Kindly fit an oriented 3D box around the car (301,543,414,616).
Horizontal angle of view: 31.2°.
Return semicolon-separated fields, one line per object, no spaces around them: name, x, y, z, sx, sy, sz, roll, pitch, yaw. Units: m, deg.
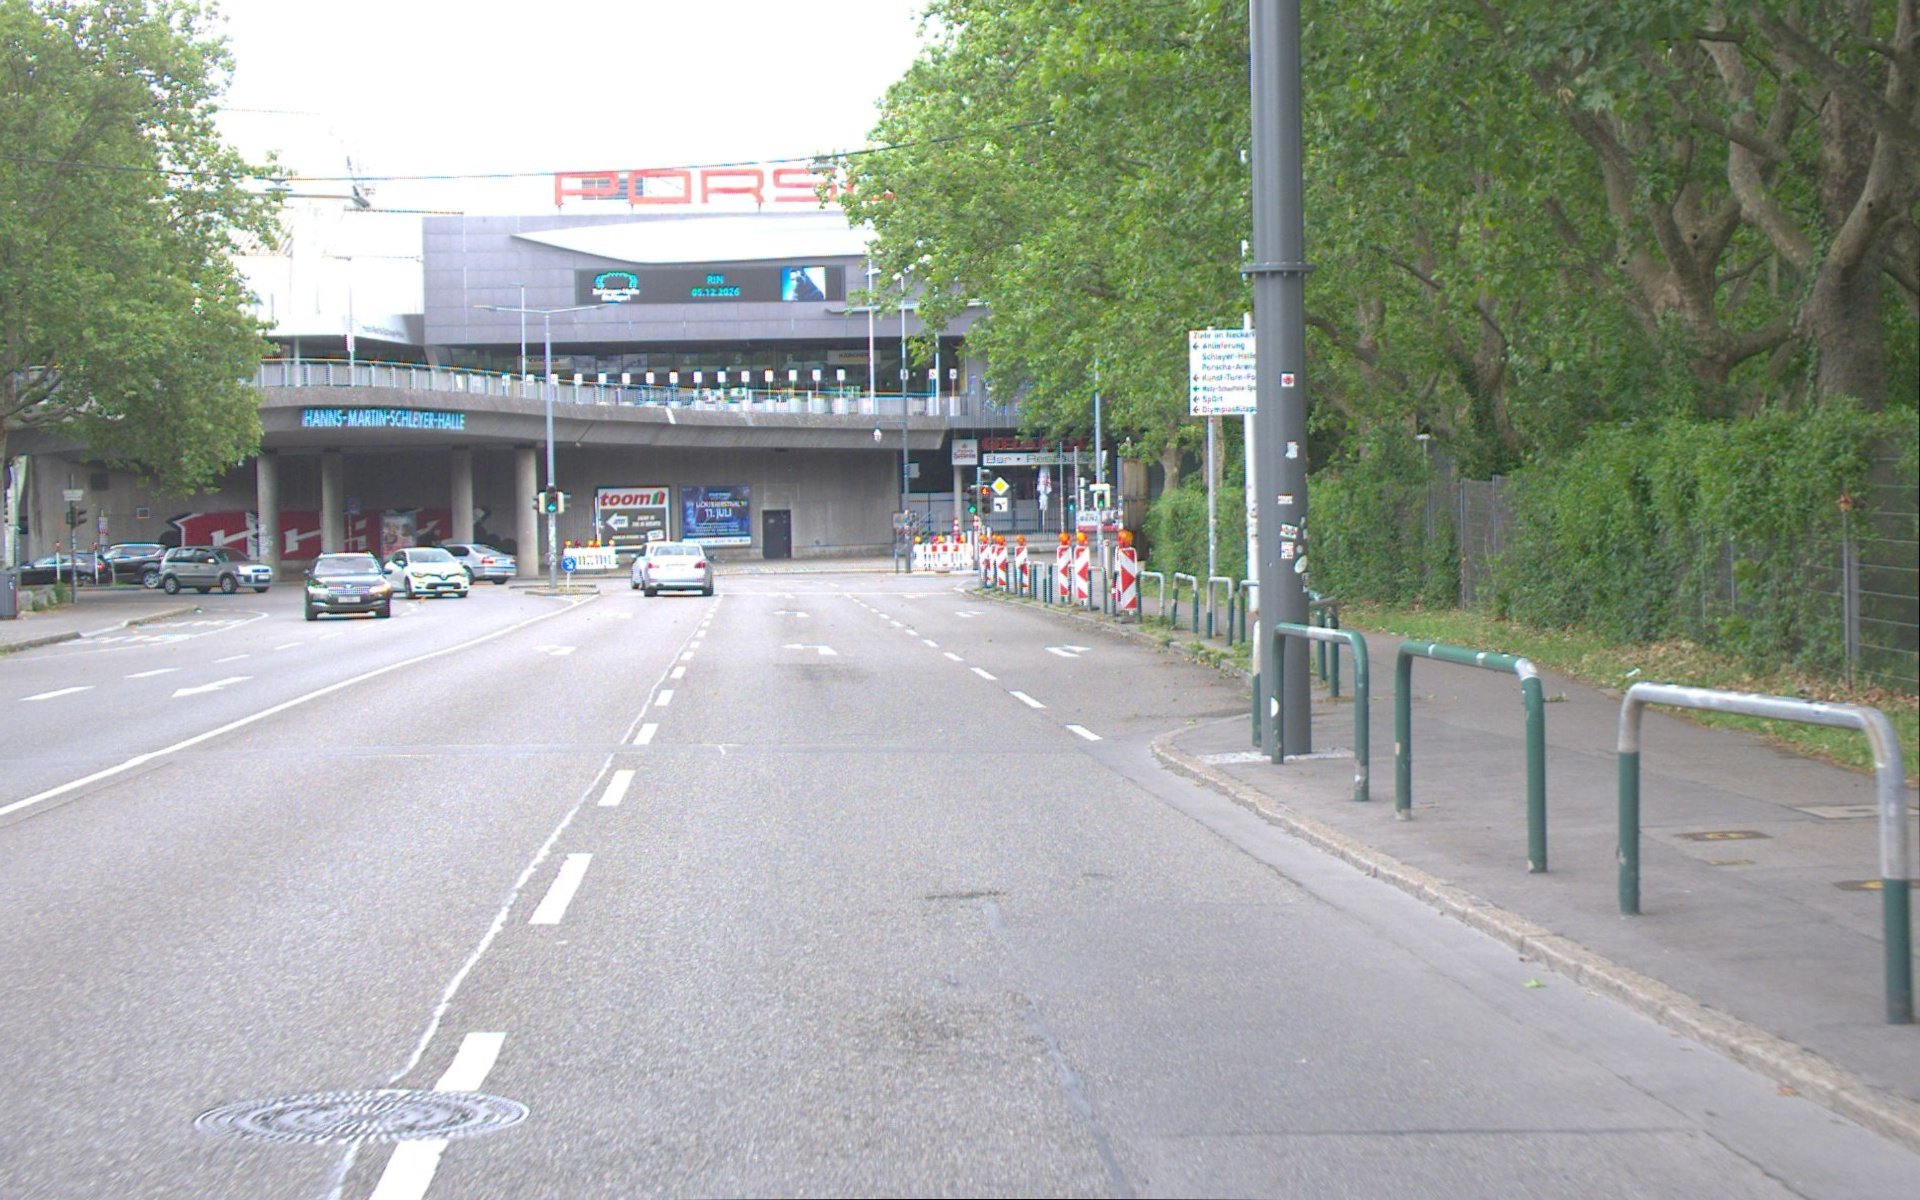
car;-13.419;-0.480;76.764;1.993;1.525;4.727;-2;1;-4

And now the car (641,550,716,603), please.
car;-7.660;-0.658;93.751;1.993;1.414;4.001;0;1;-4

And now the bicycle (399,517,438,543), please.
bicycle;-22.230;-2.870;141.149;1.532;1.009;0.517;1;0;-7

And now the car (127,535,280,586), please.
car;-24.328;-1.272;110.583;4.374;1.525;1.998;-1;1;18

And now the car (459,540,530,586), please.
car;-16.098;-1.275;119.071;1.993;1.525;4.385;-1;1;-2

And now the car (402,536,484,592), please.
car;-14.823;-1.049;98.693;1.993;1.525;4.386;-1;1;-4
